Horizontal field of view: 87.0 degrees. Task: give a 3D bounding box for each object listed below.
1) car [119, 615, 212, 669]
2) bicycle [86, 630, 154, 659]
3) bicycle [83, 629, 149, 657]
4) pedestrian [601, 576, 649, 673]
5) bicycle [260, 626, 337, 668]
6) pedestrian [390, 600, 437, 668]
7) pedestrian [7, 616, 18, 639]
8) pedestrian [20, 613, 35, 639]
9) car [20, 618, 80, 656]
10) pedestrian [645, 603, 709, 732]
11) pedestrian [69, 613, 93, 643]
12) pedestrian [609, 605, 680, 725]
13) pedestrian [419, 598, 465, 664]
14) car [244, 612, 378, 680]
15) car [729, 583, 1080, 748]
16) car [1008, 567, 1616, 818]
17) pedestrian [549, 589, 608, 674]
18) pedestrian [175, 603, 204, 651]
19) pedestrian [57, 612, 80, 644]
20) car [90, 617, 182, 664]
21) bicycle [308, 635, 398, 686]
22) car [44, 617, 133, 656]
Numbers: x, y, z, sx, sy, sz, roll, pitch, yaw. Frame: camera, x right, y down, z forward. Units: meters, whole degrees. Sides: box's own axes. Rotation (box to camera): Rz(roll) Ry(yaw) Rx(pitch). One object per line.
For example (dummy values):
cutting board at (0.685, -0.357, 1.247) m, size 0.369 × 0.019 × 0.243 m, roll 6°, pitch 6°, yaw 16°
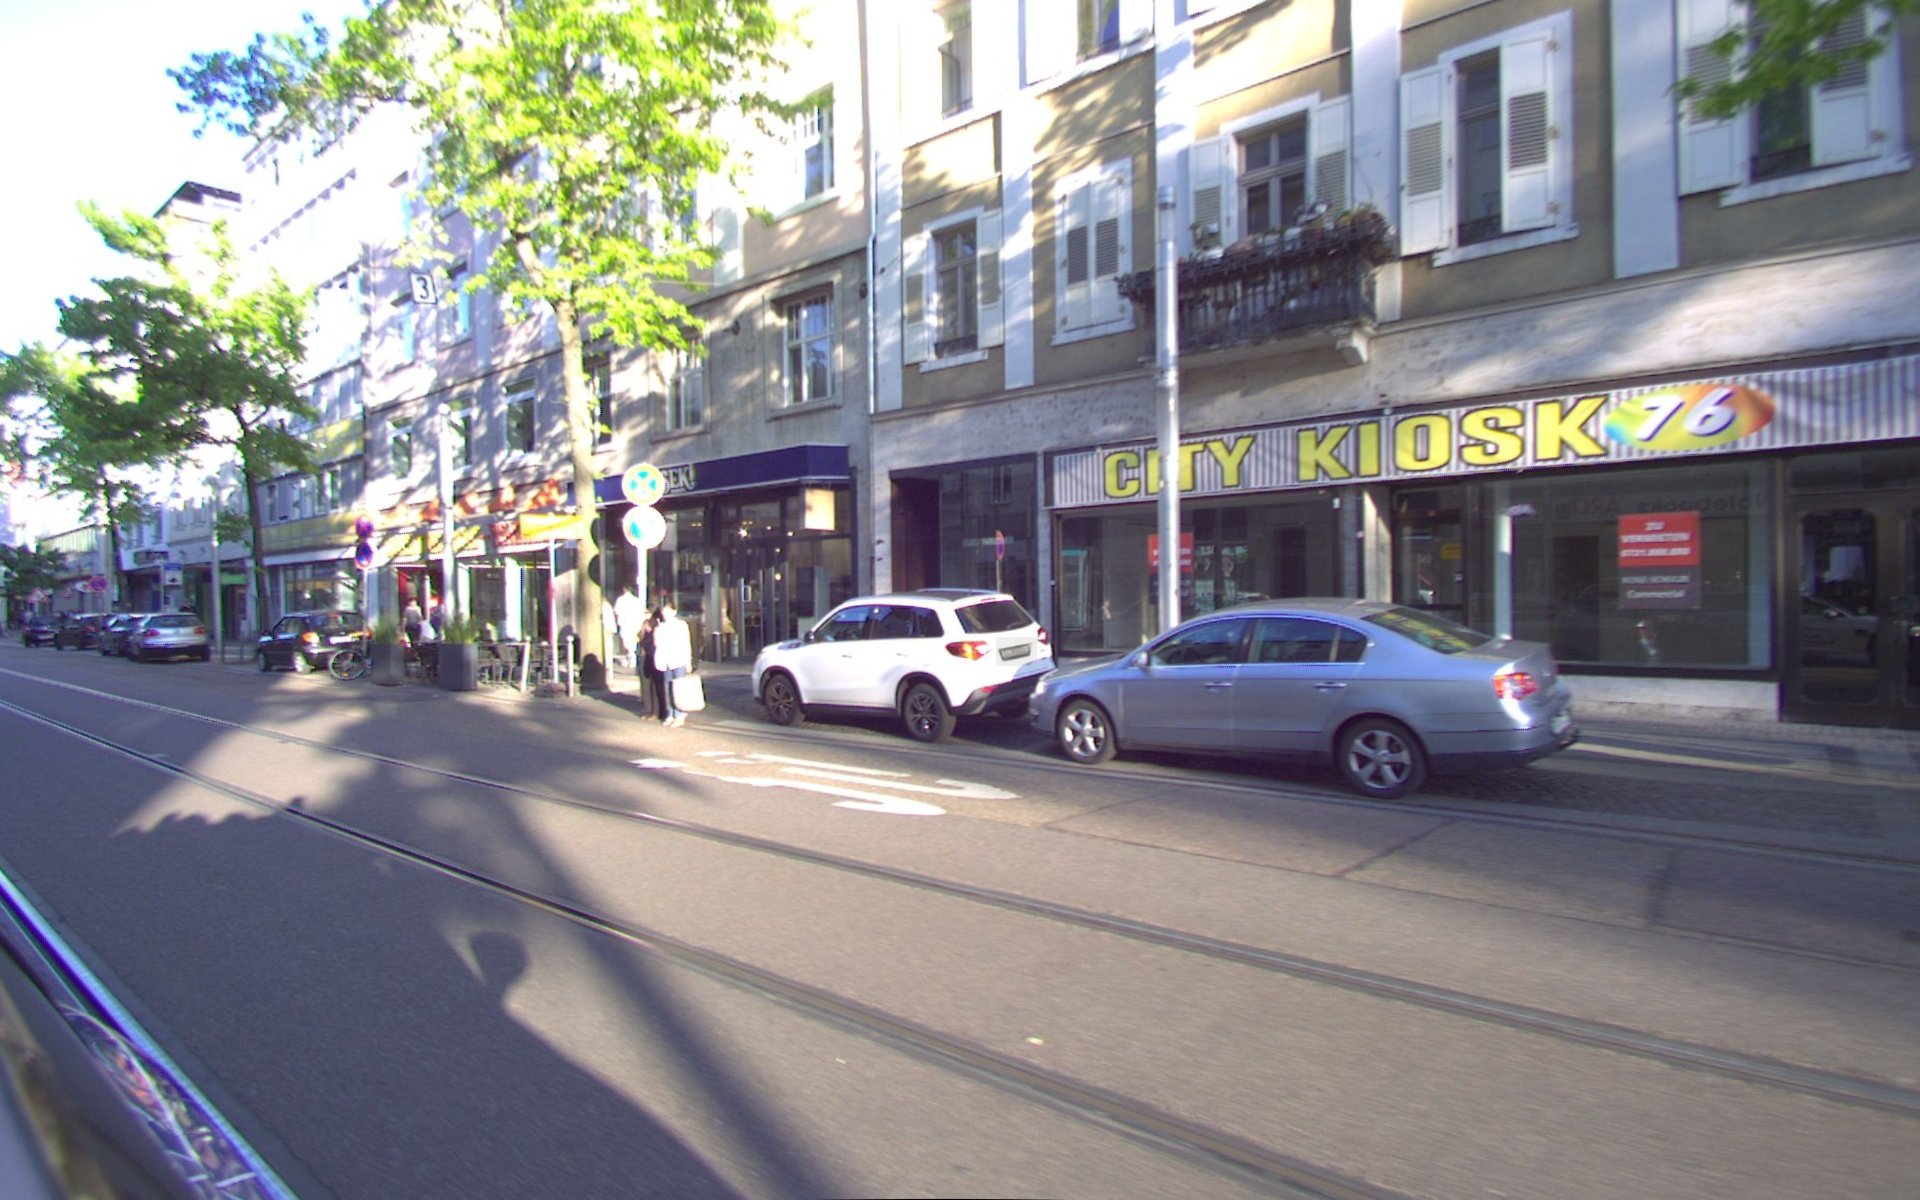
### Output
car at (-24.602, 1.254, 31.298) m, size 4.176 × 1.508 × 1.747 m, roll -1°, pitch 0°, yaw 45°
bicycle at (-31.837, 1.667, 38.392) m, size 0.330 × 1.009 × 1.949 m, roll -1°, pitch 0°, yaw 42°
bicycle at (-33.013, 1.680, 39.625) m, size 0.330 × 1.009 × 1.949 m, roll -1°, pitch 0°, yaw 42°
pedestrian at (-7.167, 0.525, 21.659) m, size 0.642 × 2.029 × 0.714 m, roll -1°, pitch -1°, yaw 40°
bicycle at (-18.591, 1.305, 28.474) m, size 0.439 × 1.073 × 1.796 m, roll -1°, pitch 0°, yaw 31°
pedestrian at (-14.004, 0.867, 25.936) m, size 0.739 × 1.706 × 0.835 m, roll -2°, pitch -1°, yaw 39°
pedestrian at (-83.755, 2.436, 89.438) m, size 0.592 × 2.029 × 0.608 m, roll -2°, pitch -1°, yaw 39°
pedestrian at (-61.550, 1.710, 66.797) m, size 0.829 × 1.725 × 0.634 m, roll -2°, pitch 0°, yaw 44°
car at (-42.681, 1.685, 47.535) m, size 1.608 × 1.628 × 3.717 m, roll -3°, pitch 1°, yaw -35°
pedestrian at (-3.590, 0.832, 12.845) m, size 0.633 × 1.581 × 0.515 m, roll 0°, pitch 0°, yaw 41°
pedestrian at (-52.642, 1.689, 60.603) m, size 1.037 × 1.708 × 0.824 m, roll -2°, pitch 2°, yaw 40°
pedestrian at (-4.179, 0.834, 13.394) m, size 0.729 × 1.521 × 0.613 m, roll 0°, pitch 0°, yaw 41°
pedestrian at (-13.742, 0.816, 26.827) m, size 0.913 × 1.706 × 0.781 m, roll -2°, pitch -1°, yaw 39°
car at (-16.067, 1.097, 25.005) m, size 3.824 × 1.439 × 1.649 m, roll -1°, pitch 2°, yaw 40°
car at (-0.784, 0.690, 12.396) m, size 4.113 × 1.591 × 1.818 m, roll -1°, pitch 3°, yaw 41°
car at (2.866, 0.634, 8.936) m, size 4.699 × 1.591 × 1.818 m, roll -1°, pitch 3°, yaw 41°
pedestrian at (-8.144, 0.660, 21.599) m, size 1.089 × 1.773 × 0.714 m, roll -1°, pitch -1°, yaw 40°
pedestrian at (-30.650, 1.069, 40.237) m, size 0.878 × 1.839 × 0.653 m, roll -2°, pitch 2°, yaw 40°
pedestrian at (-50.083, 1.574, 56.837) m, size 0.830 × 1.779 × 0.842 m, roll -2°, pitch -1°, yaw 37°
car at (-29.150, 1.385, 35.742) m, size 4.483 × 1.472 × 1.694 m, roll -1°, pitch 1°, yaw 40°
bicycle at (-13.210, 1.304, 22.051) m, size 1.598 × 0.972 × 0.433 m, roll -3°, pitch 1°, yaw -45°
car at (-36.430, 1.506, 42.280) m, size 4.231 × 1.501 × 1.777 m, roll -1°, pitch 1°, yaw 34°
